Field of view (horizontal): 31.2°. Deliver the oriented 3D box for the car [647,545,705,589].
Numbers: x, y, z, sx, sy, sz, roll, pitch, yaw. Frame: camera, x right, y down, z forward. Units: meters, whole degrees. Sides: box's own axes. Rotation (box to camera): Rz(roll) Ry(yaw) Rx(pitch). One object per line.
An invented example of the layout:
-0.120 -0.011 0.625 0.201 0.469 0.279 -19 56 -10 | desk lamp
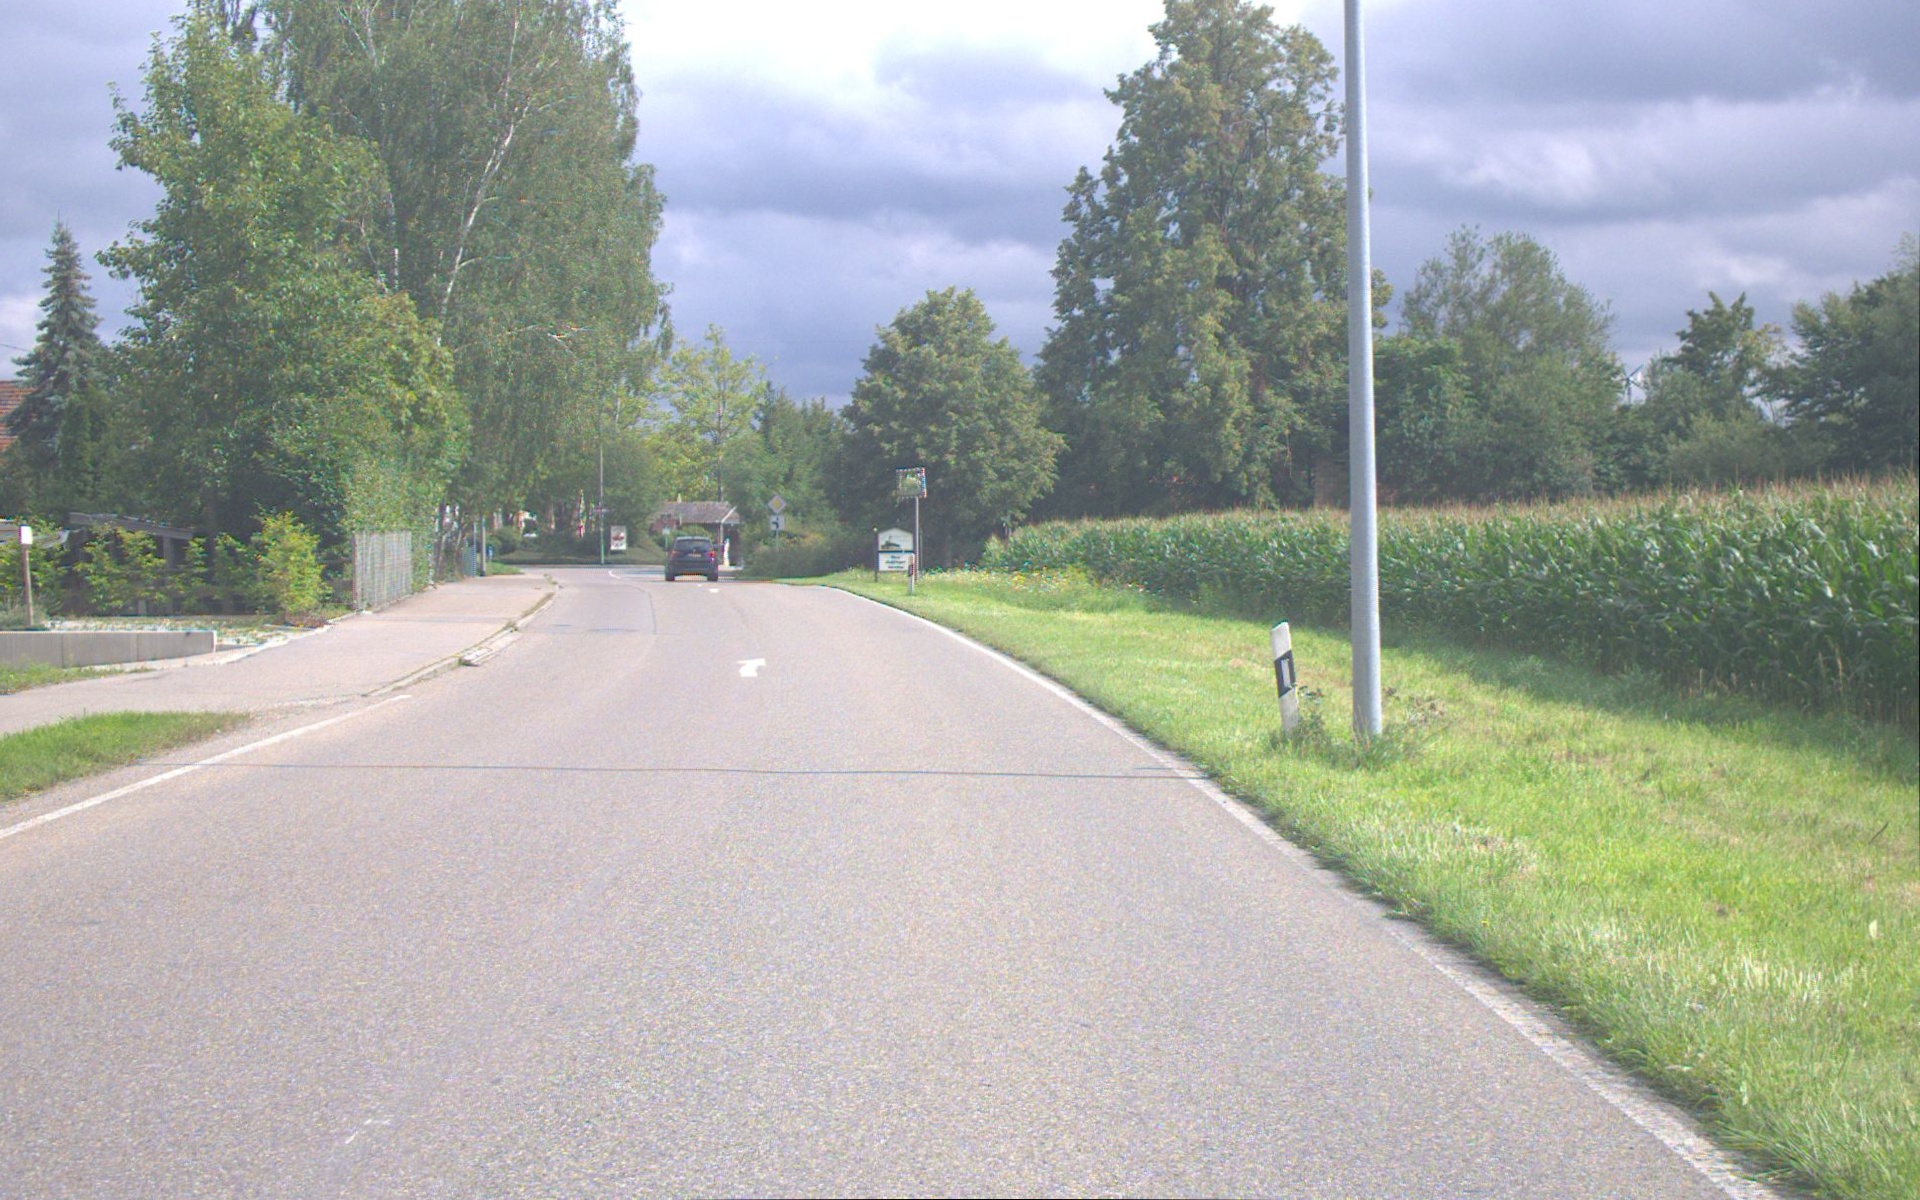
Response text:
-10.697 -1.228 129.192 1.993 1.579 4.001 1 0 -7 | car
